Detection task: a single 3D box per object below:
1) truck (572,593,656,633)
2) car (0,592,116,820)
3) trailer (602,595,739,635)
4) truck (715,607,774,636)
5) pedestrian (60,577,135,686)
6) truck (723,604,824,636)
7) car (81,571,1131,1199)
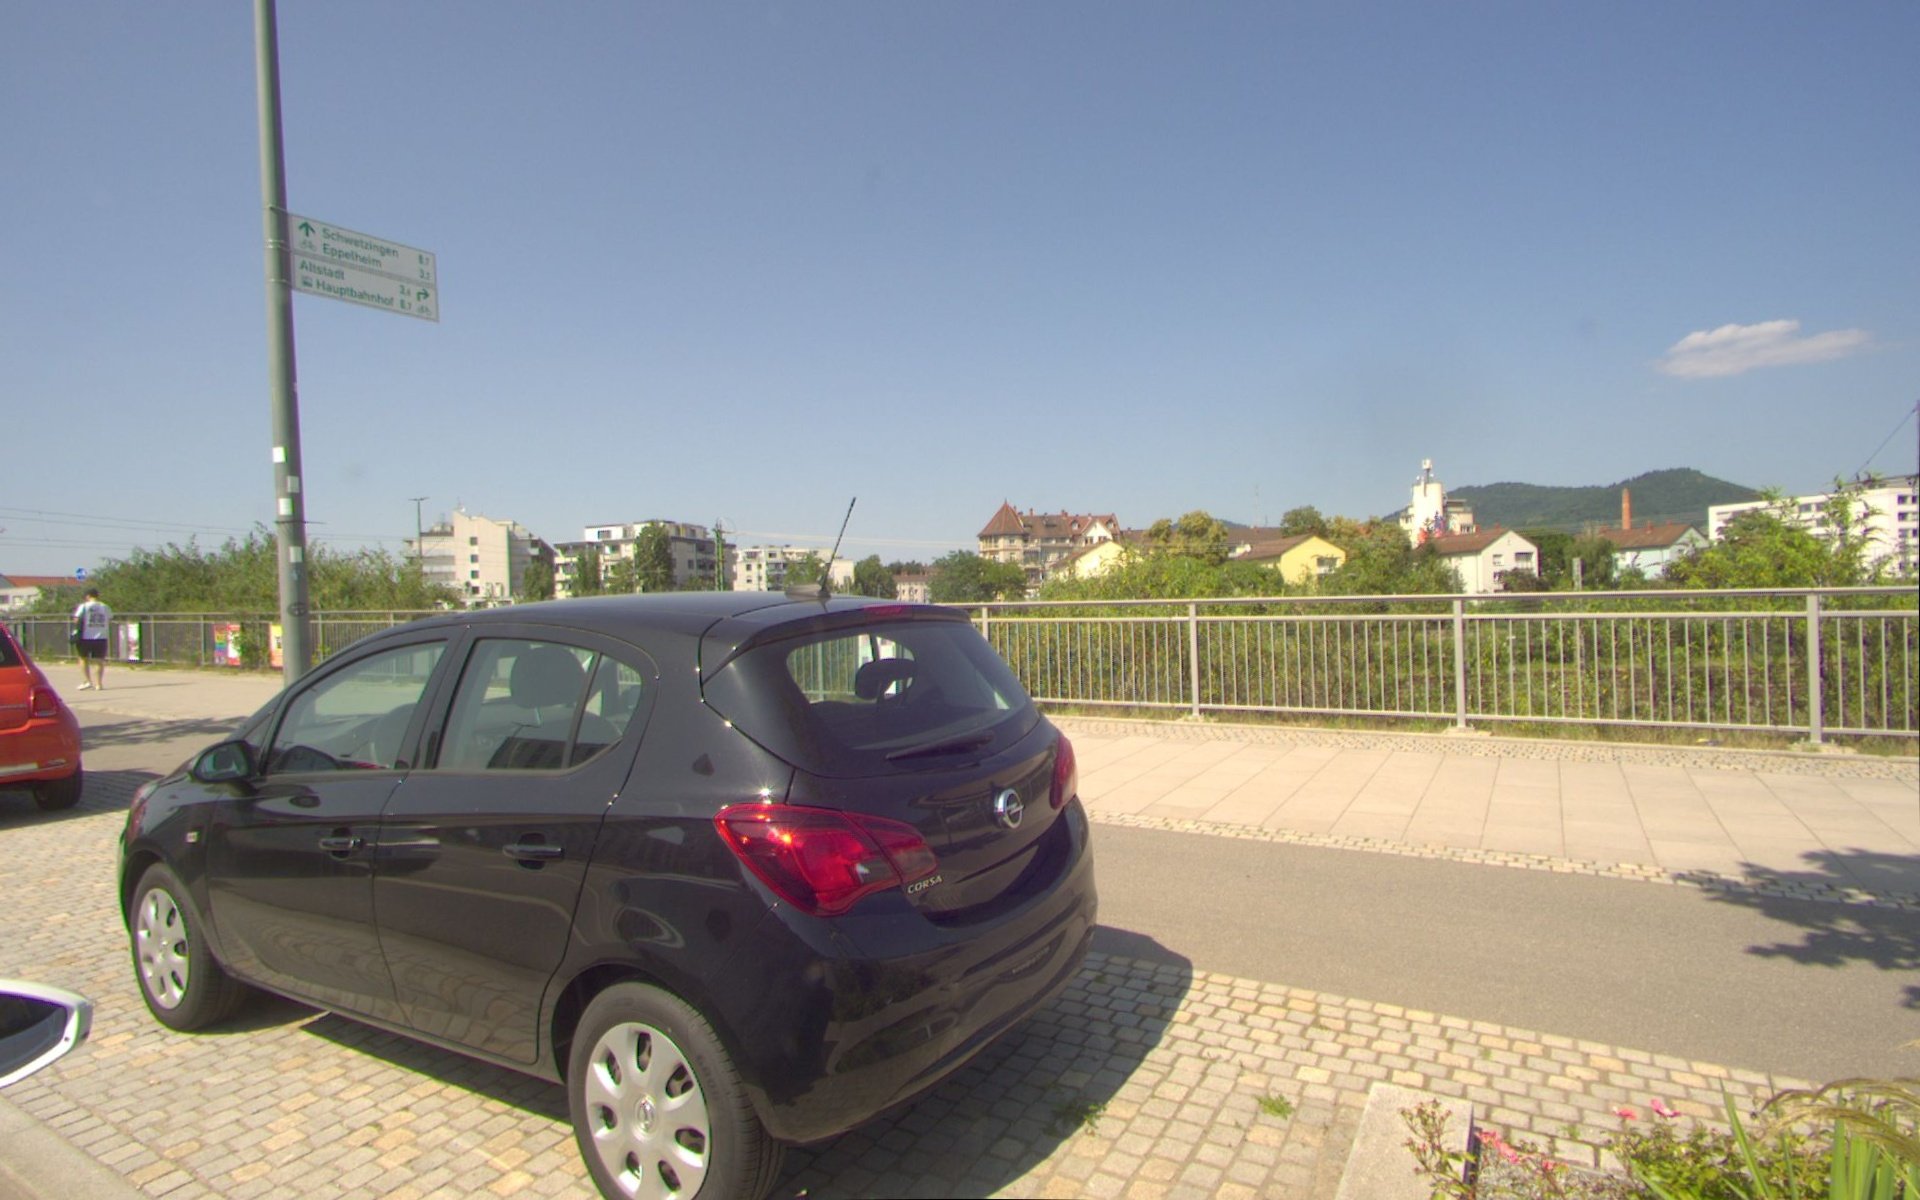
[{"bbox_3d":[-29.497,1.193,85.636,3.672,3.244,6.485,-1,-2,17],"label":"truck"},{"bbox_3d":[-8.375,0.767,7.748,3.860,1.560,1.666,-1,1,32],"label":"car"},{"bbox_3d":[-26.838,1.563,94.558,3.674,3.243,17.244,-1,-3,17],"label":"trailer"},{"bbox_3d":[-25.360,2.586,118.631,2.459,3.197,9.899,-1,-2,16],"label":"truck"},{"bbox_3d":[-15.157,0.555,17.604,0.872,1.853,0.757,-1,-2,32],"label":"pedestrian"},{"bbox_3d":[-20.986,2.420,114.852,3.674,3.243,17.876,-1,-3,17],"label":"truck"},{"bbox_3d":[-1.348,0.742,3.495,3.495,1.577,1.577,-1,2,32],"label":"car"}]
